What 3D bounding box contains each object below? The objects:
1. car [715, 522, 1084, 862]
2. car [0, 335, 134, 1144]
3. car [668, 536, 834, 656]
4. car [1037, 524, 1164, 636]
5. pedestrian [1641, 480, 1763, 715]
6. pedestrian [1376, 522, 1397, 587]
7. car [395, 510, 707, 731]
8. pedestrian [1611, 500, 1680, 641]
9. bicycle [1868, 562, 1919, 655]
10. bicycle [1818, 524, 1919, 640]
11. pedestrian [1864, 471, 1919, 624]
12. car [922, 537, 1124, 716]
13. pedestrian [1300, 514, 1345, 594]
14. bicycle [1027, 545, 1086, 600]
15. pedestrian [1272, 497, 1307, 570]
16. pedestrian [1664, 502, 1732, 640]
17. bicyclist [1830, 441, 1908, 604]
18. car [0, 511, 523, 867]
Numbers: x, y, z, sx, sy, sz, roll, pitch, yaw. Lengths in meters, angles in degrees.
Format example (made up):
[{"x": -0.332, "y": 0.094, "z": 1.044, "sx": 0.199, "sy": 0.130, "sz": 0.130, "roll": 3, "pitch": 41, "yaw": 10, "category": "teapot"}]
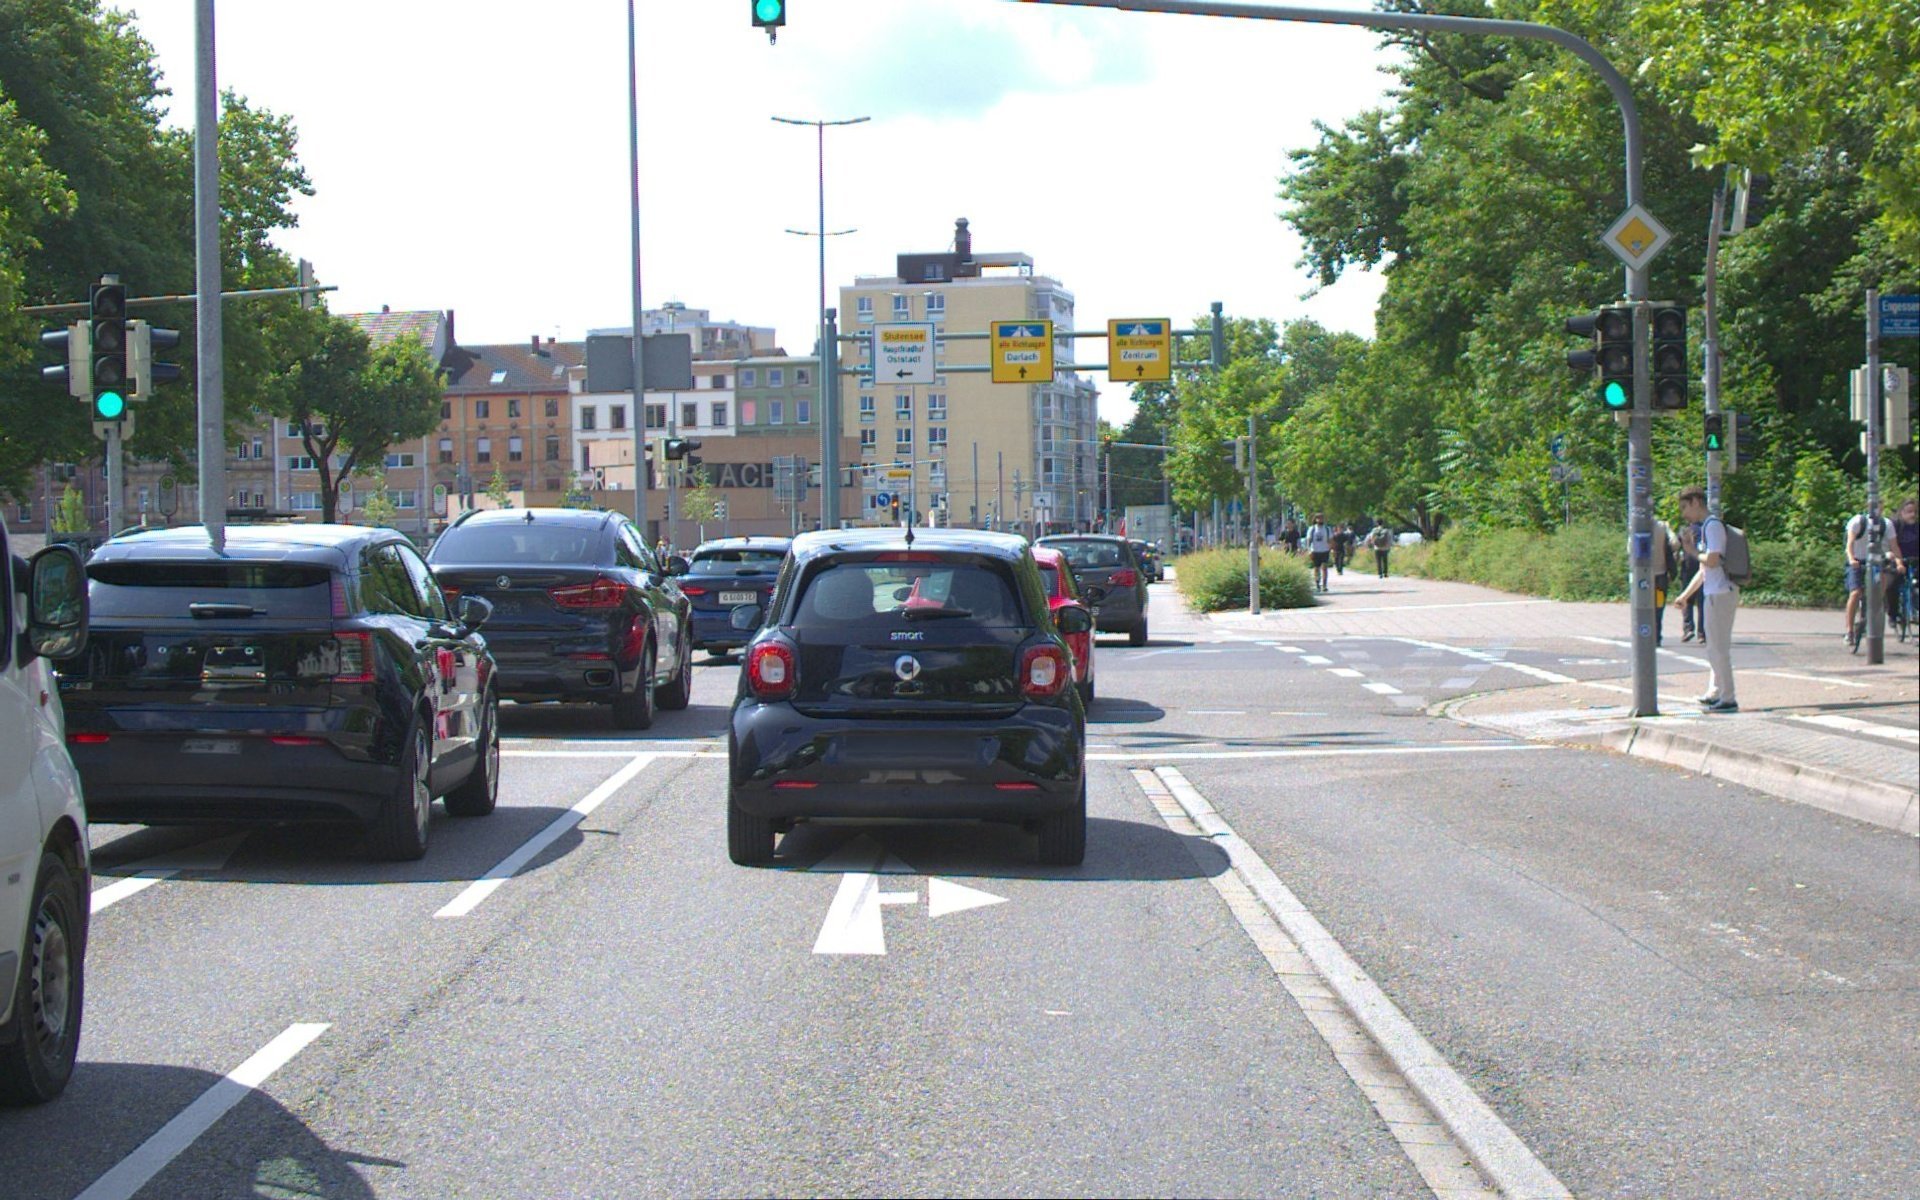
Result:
[{"x": -0.216, "y": 0.377, "z": 16.906, "sx": 1.611, "sy": 1.480, "sz": 3.517, "roll": 1, "pitch": 1, "yaw": 2, "category": "car"}, {"x": -3.295, "y": 0.356, "z": 7.117, "sx": 2.006, "sy": 1.949, "sz": 5.194, "roll": 0, "pitch": 1, "yaw": -1, "category": "car"}, {"x": -2.390, "y": -0.075, "z": 40.075, "sx": 1.611, "sy": 1.320, "sz": 3.517, "roll": 0, "pitch": 1, "yaw": 2, "category": "car"}, {"x": 1.856, "y": -0.290, "z": 45.858, "sx": 1.611, "sy": 1.406, "sz": 3.517, "roll": 1, "pitch": 1, "yaw": 2, "category": "car"}, {"x": 5.819, "y": -0.021, "z": 26.954, "sx": 0.594, "sy": 1.794, "sz": 0.611, "roll": -4, "pitch": 1, "yaw": -36, "category": "pedestrian"}, {"x": 12.314, "y": -1.310, "z": 99.361, "sx": 0.501, "sy": 1.884, "sz": 0.560, "roll": 1, "pitch": 0, "yaw": -1, "category": "pedestrian"}, {"x": -3.143, "y": 0.091, "z": 27.259, "sx": 1.827, "sy": 1.595, "sz": 4.393, "roll": 0, "pitch": 2, "yaw": 2, "category": "car"}, {"x": 8.364, "y": -0.373, "z": 41.962, "sx": 0.795, "sy": 1.698, "sz": 1.182, "roll": 0, "pitch": 2, "yaw": 10, "category": "pedestrian"}, {"x": 11.489, "y": 0.088, "z": 41.715, "sx": 0.816, "sy": 1.069, "sz": 1.890, "roll": 0, "pitch": 2, "yaw": 12, "category": "bicycle"}, {"x": 10.410, "y": -0.209, "z": 39.383, "sx": 0.660, "sy": 1.292, "sz": 1.874, "roll": 1, "pitch": 1, "yaw": 0, "category": "bicycle"}, {"x": 11.481, "y": -0.645, "z": 41.717, "sx": 0.854, "sy": 1.813, "sz": 1.175, "roll": 2, "pitch": 2, "yaw": 12, "category": "pedestrian"}, {"x": 0.558, "y": 0.183, "z": 29.556, "sx": 1.611, "sy": 1.406, "sz": 3.517, "roll": 1, "pitch": 1, "yaw": 2, "category": "car"}, {"x": 7.935, "y": -1.002, "z": 75.265, "sx": 0.851, "sy": 1.695, "sz": 0.931, "roll": -2, "pitch": 0, "yaw": 2, "category": "pedestrian"}, {"x": 3.550, "y": -1.021, "z": 127.160, "sx": 1.993, "sy": 2.007, "sz": 4.000, "roll": 1, "pitch": 1, "yaw": 0, "category": "bicycle"}, {"x": 8.951, "y": -1.809, "z": 93.479, "sx": 0.838, "sy": 1.962, "sz": 0.861, "roll": -1, "pitch": 1, "yaw": 0, "category": "pedestrian"}, {"x": 9.258, "y": -0.373, "z": 43.150, "sx": 0.795, "sy": 1.698, "sz": 1.182, "roll": 0, "pitch": 2, "yaw": 10, "category": "pedestrian"}, {"x": 10.421, "y": -0.882, "z": 39.440, "sx": 0.660, "sy": 1.839, "sz": 0.762, "roll": 1, "pitch": 0, "yaw": -1, "category": "bicyclist"}, {"x": -3.451, "y": 0.339, "z": 17.200, "sx": 2.017, "sy": 1.525, "sz": 4.887, "roll": 0, "pitch": 1, "yaw": -1, "category": "car"}]
